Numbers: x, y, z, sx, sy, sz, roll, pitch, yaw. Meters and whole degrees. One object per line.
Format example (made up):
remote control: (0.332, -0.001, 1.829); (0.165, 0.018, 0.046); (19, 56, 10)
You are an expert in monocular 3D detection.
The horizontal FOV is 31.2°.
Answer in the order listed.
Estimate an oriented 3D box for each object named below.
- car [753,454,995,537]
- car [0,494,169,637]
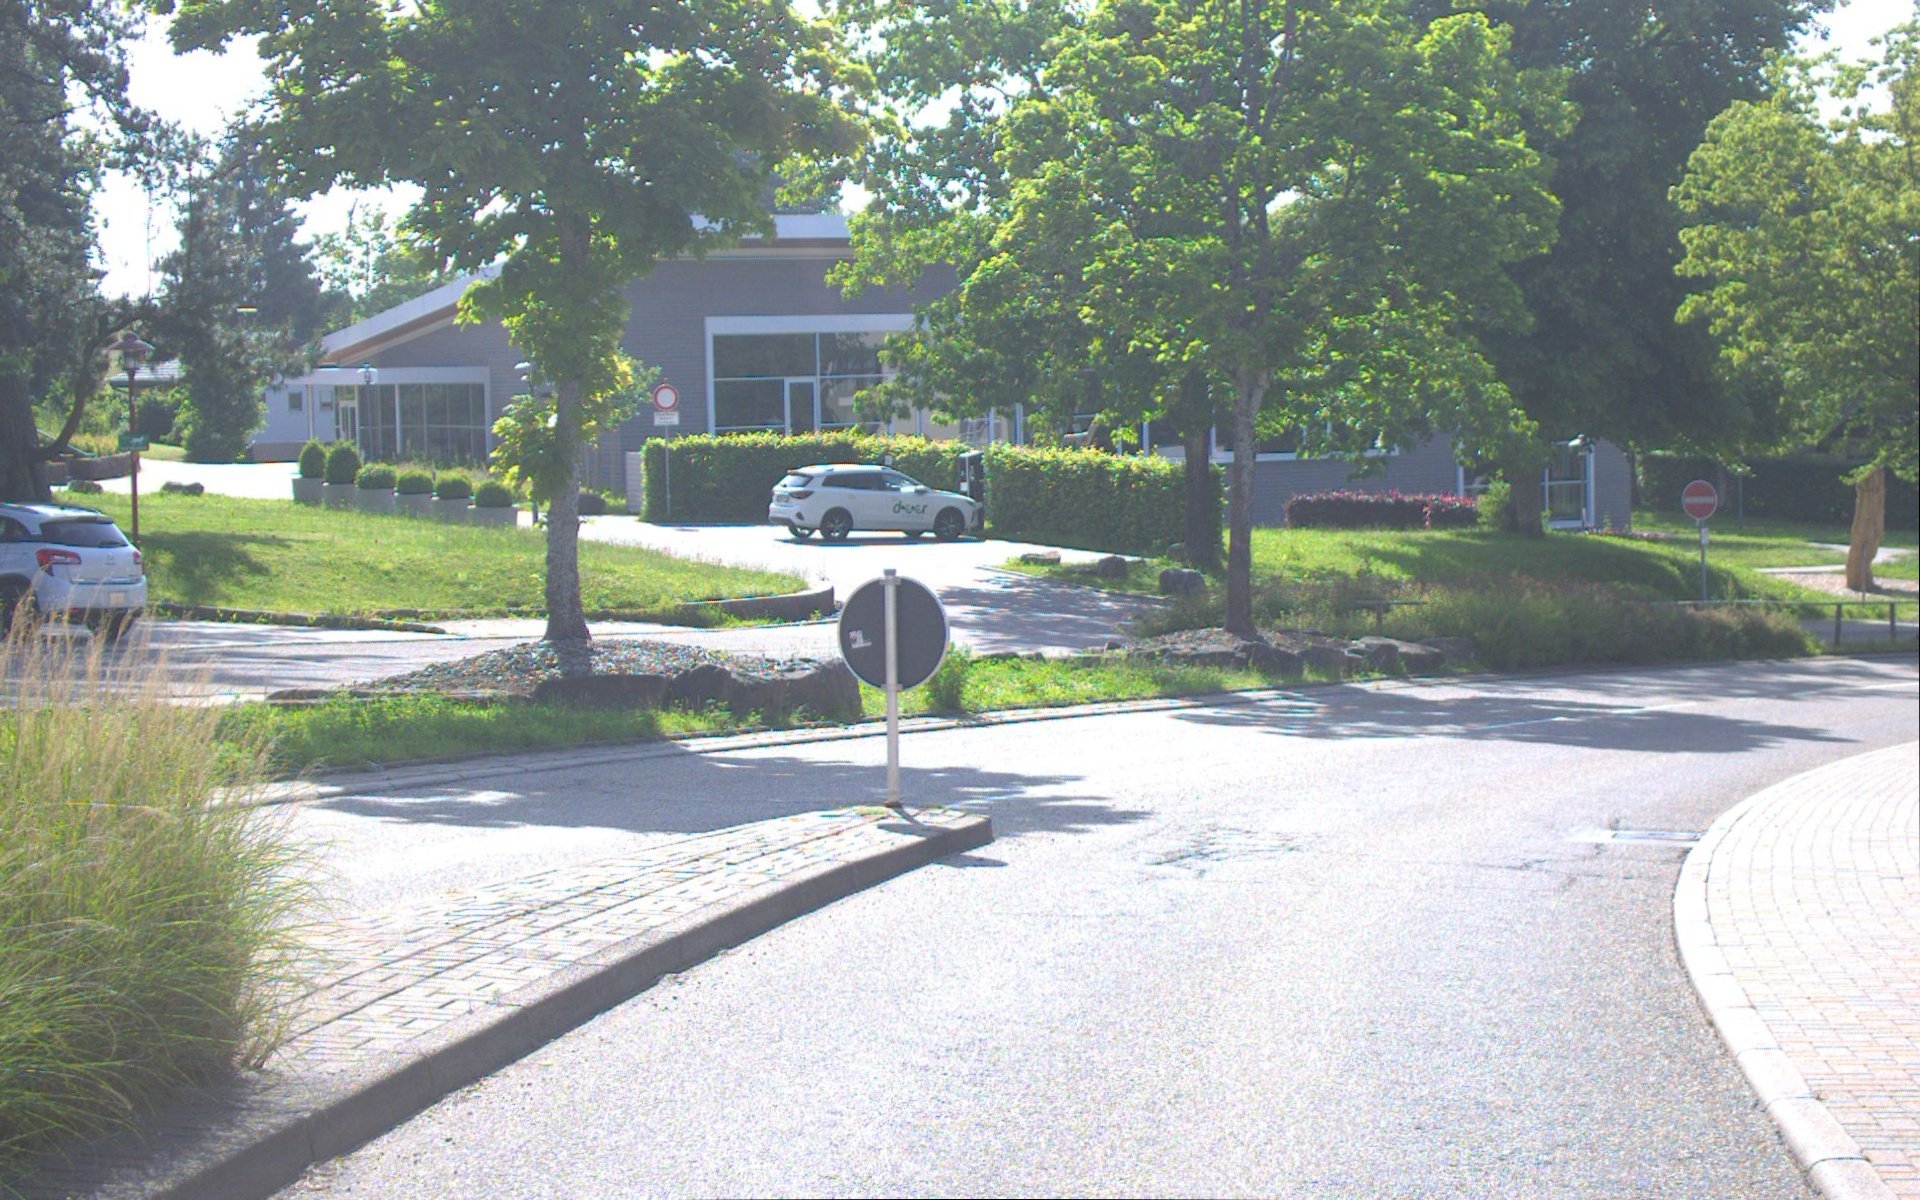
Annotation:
car: (-1.819, -2.246, 73.111); (4.714, 1.528, 2.001); (-2, 7, -27)
car: (-11.729, -0.475, 41.734); (3.935, 1.603, 1.773); (3, 2, 30)
